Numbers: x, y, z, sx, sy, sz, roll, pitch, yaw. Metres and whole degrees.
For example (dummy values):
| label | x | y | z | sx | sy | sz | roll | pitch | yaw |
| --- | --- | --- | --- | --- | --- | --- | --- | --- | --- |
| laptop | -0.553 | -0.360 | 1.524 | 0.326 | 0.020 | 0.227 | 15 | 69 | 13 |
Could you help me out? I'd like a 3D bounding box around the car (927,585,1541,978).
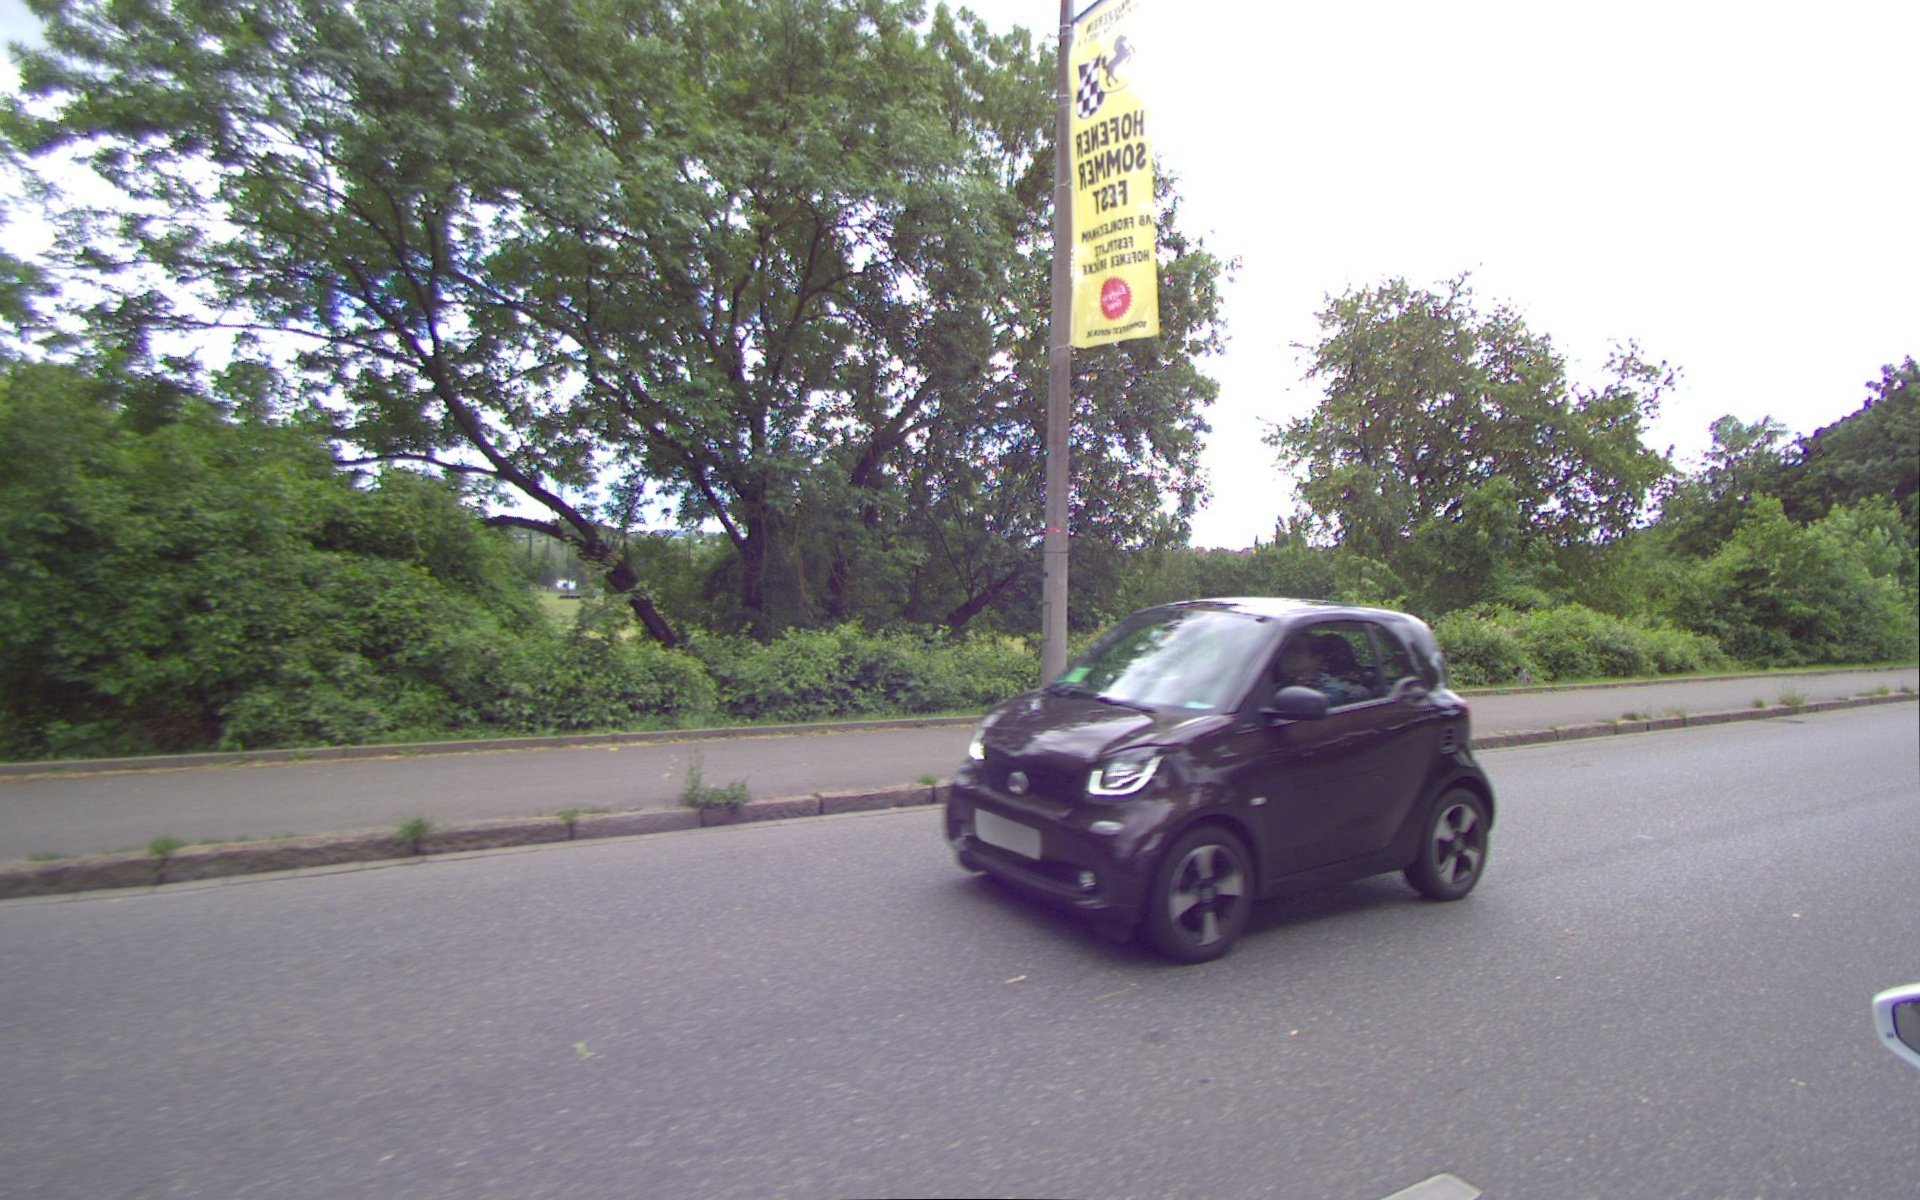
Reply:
| label | x | y | z | sx | sy | sz | roll | pitch | yaw |
| --- | --- | --- | --- | --- | --- | --- | --- | --- | --- |
| car | 1.516 | 0.731 | 5.397 | 2.995 | 1.526 | 1.586 | 1 | 0 | -33 |
